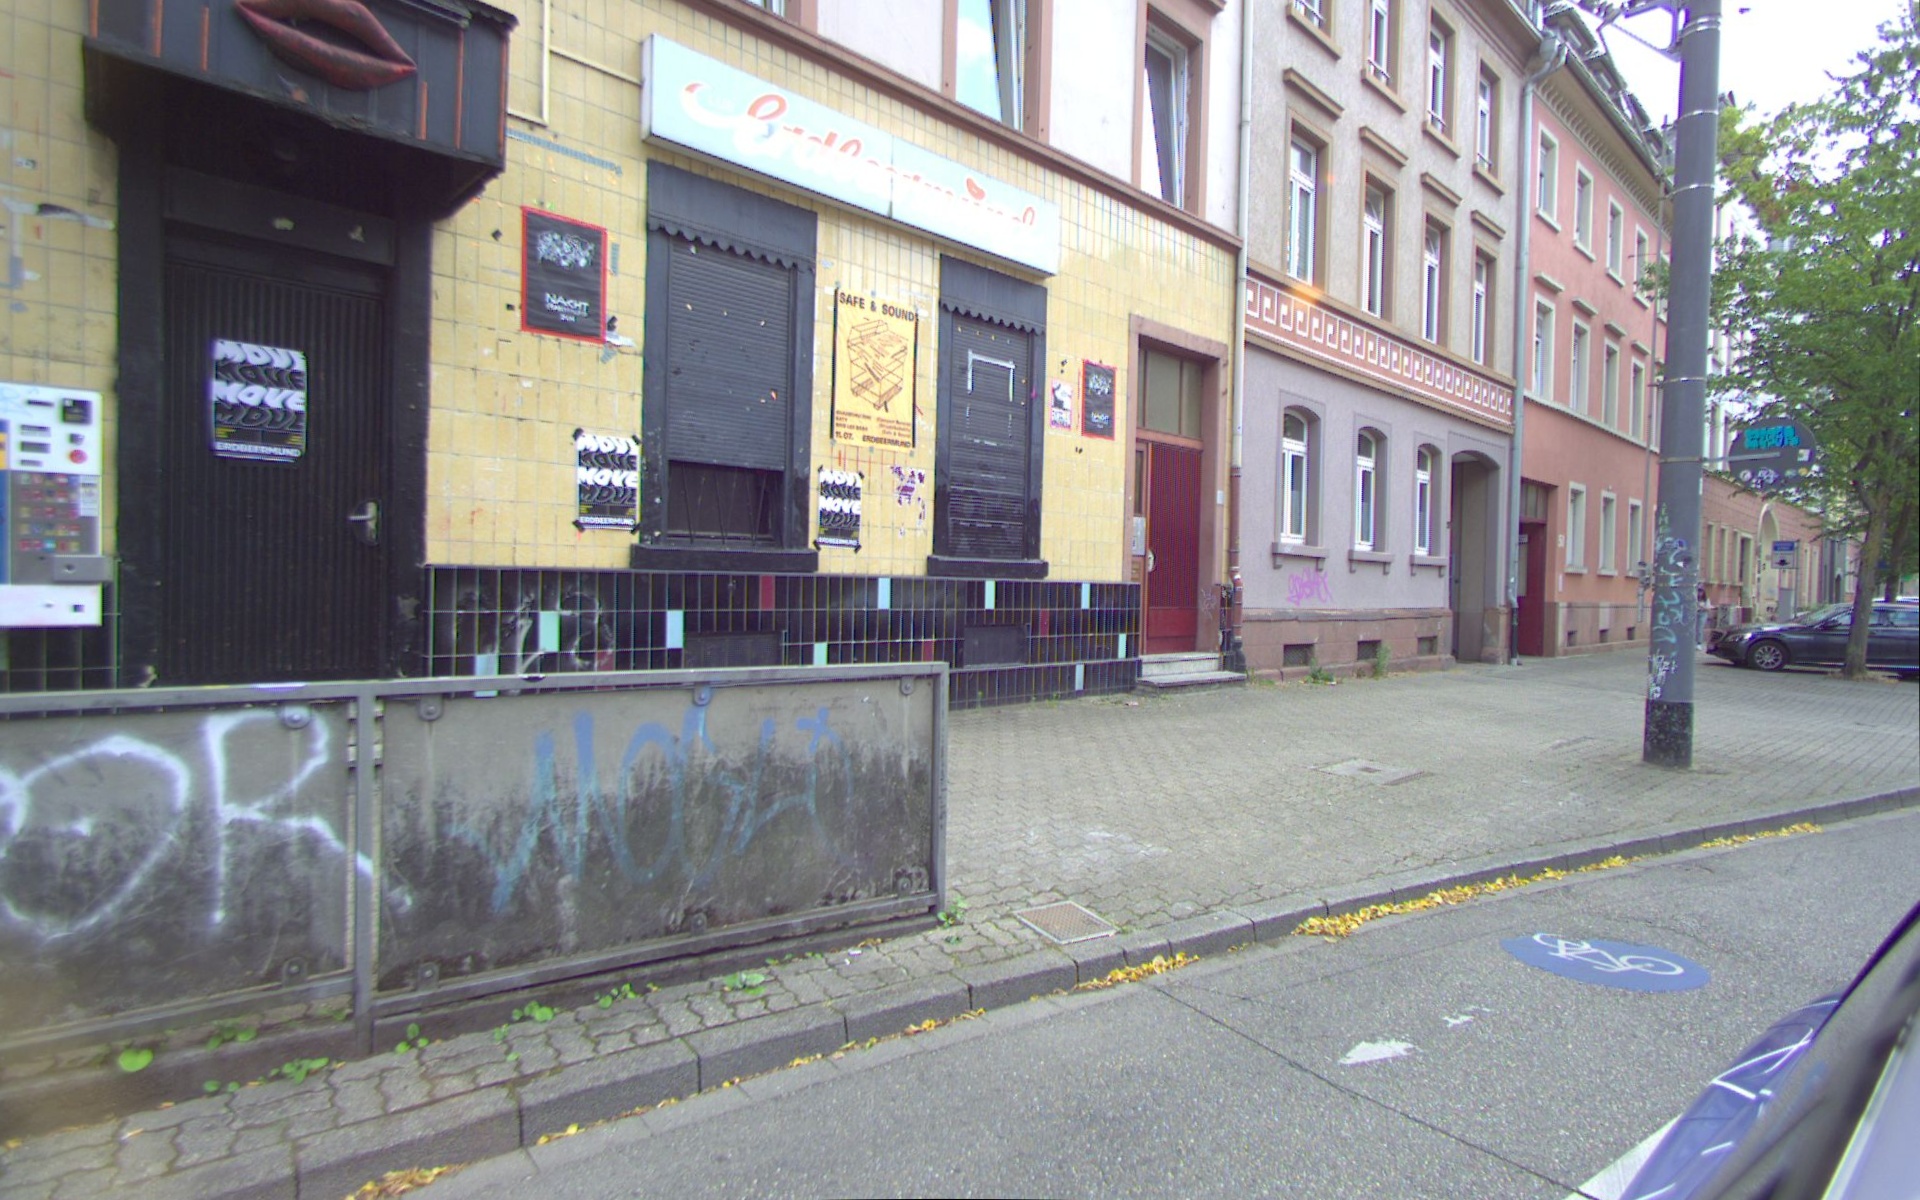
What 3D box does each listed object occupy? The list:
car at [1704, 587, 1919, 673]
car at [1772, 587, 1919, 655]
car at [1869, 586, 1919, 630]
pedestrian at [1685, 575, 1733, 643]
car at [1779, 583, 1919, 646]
[{"bbox_3d":[18.035,0.588,20.366,4.581,1.491,1.774,3,2,25],"label":"car"},{"bbox_3d":[23.145,0.540,25.086,4.301,1.498,1.774,3,2,25],"label":"car"},{"bbox_3d":[39.549,0.397,40.239,4.581,1.719,1.901,3,2,25],"label":"car"},{"bbox_3d":[19.807,0.230,26.762,0.910,1.708,0.732,1,4,-42],"label":"pedestrian"},{"bbox_3d":[27.696,0.433,30.553,4.196,1.719,1.725,3,2,25],"label":"car"}]
